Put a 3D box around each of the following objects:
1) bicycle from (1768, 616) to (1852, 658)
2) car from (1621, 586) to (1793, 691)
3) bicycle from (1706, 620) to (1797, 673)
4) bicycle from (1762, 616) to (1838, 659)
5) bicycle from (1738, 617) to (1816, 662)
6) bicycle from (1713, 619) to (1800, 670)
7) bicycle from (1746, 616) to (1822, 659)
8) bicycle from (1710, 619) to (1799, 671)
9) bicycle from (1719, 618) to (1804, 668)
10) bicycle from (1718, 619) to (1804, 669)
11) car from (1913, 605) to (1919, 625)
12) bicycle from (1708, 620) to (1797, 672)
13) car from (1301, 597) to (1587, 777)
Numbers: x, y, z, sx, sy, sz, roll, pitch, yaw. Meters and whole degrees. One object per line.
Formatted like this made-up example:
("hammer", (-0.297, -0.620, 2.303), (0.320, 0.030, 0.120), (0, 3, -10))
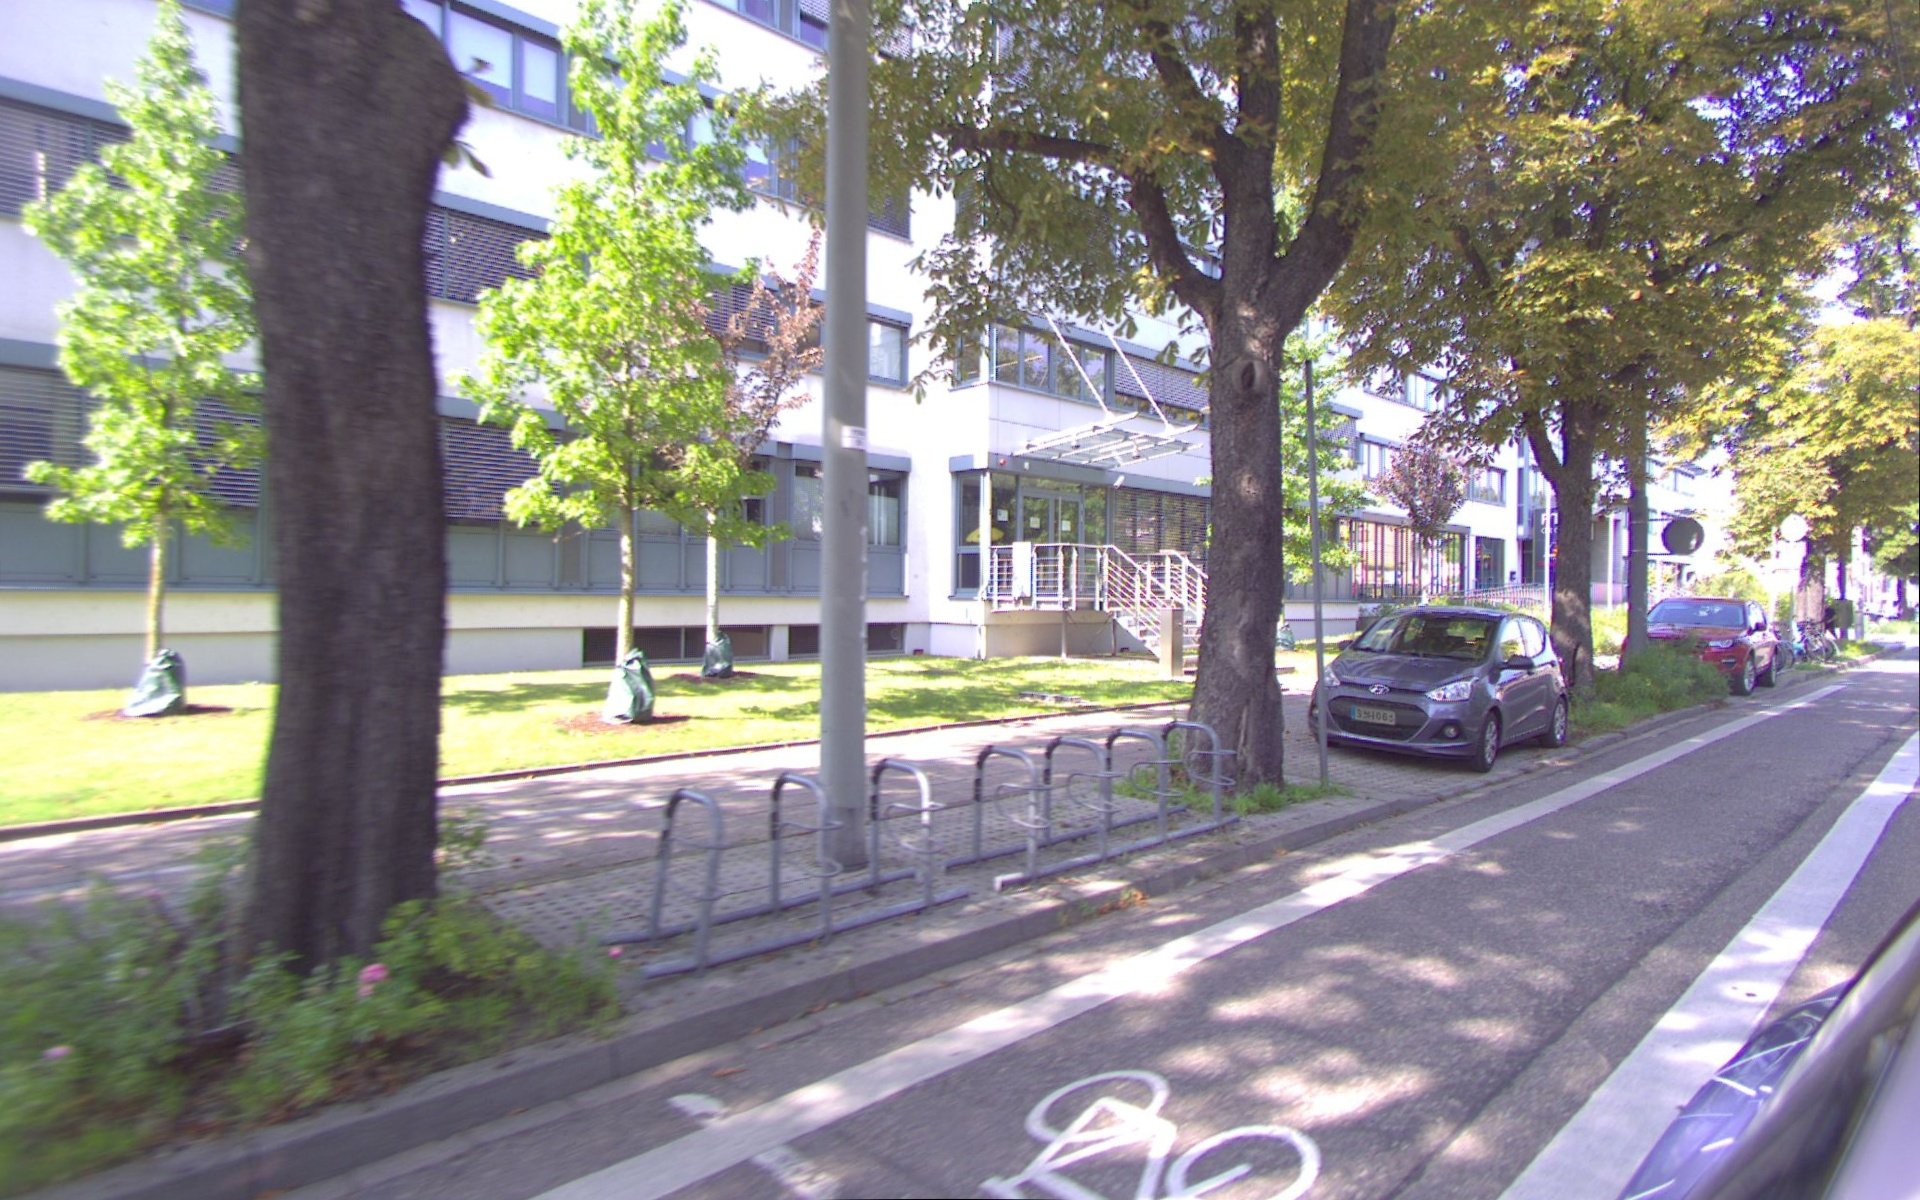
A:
("bicycle", (21.780, 0.933, 25.942), (0.376, 1.027, 1.617), (1, 0, -45))
("car", (13.836, 0.620, 18.651), (4.114, 1.673, 1.863), (0, 2, -44))
("bicycle", (16.465, 0.949, 21.068), (1.457, 1.027, 0.376), (1, 0, 45))
("bicycle", (21.343, 0.934, 25.727), (1.457, 1.027, 0.376), (1, 0, 45))
("bicycle", (19.942, 0.939, 24.723), (1.457, 1.027, 0.376), (1, 0, 45))
("bicycle", (17.300, 0.950, 21.998), (1.457, 1.027, 0.376), (1, 0, 45))
("bicycle", (20.834, 0.934, 25.592), (1.457, 1.027, 0.376), (1, 0, 45))
("bicycle", (17.014, 0.951, 21.689), (1.457, 1.027, 0.376), (1, 0, 45))
("bicycle", (17.917, 0.946, 22.638), (1.457, 1.027, 0.376), (1, 0, 45))
("bicycle", (17.628, 0.948, 22.299), (1.457, 1.027, 0.376), (1, 0, 45))
("car", (81.351, 1.277, 84.752), (3.929, 1.627, 1.755), (0, 0, -40))
("bicycle", (16.733, 0.953, 21.393), (1.457, 1.027, 0.376), (1, 0, 45))
("car", (5.114, 0.739, 10.495), (1.563, 1.459, 3.507), (4, 3, 45))
